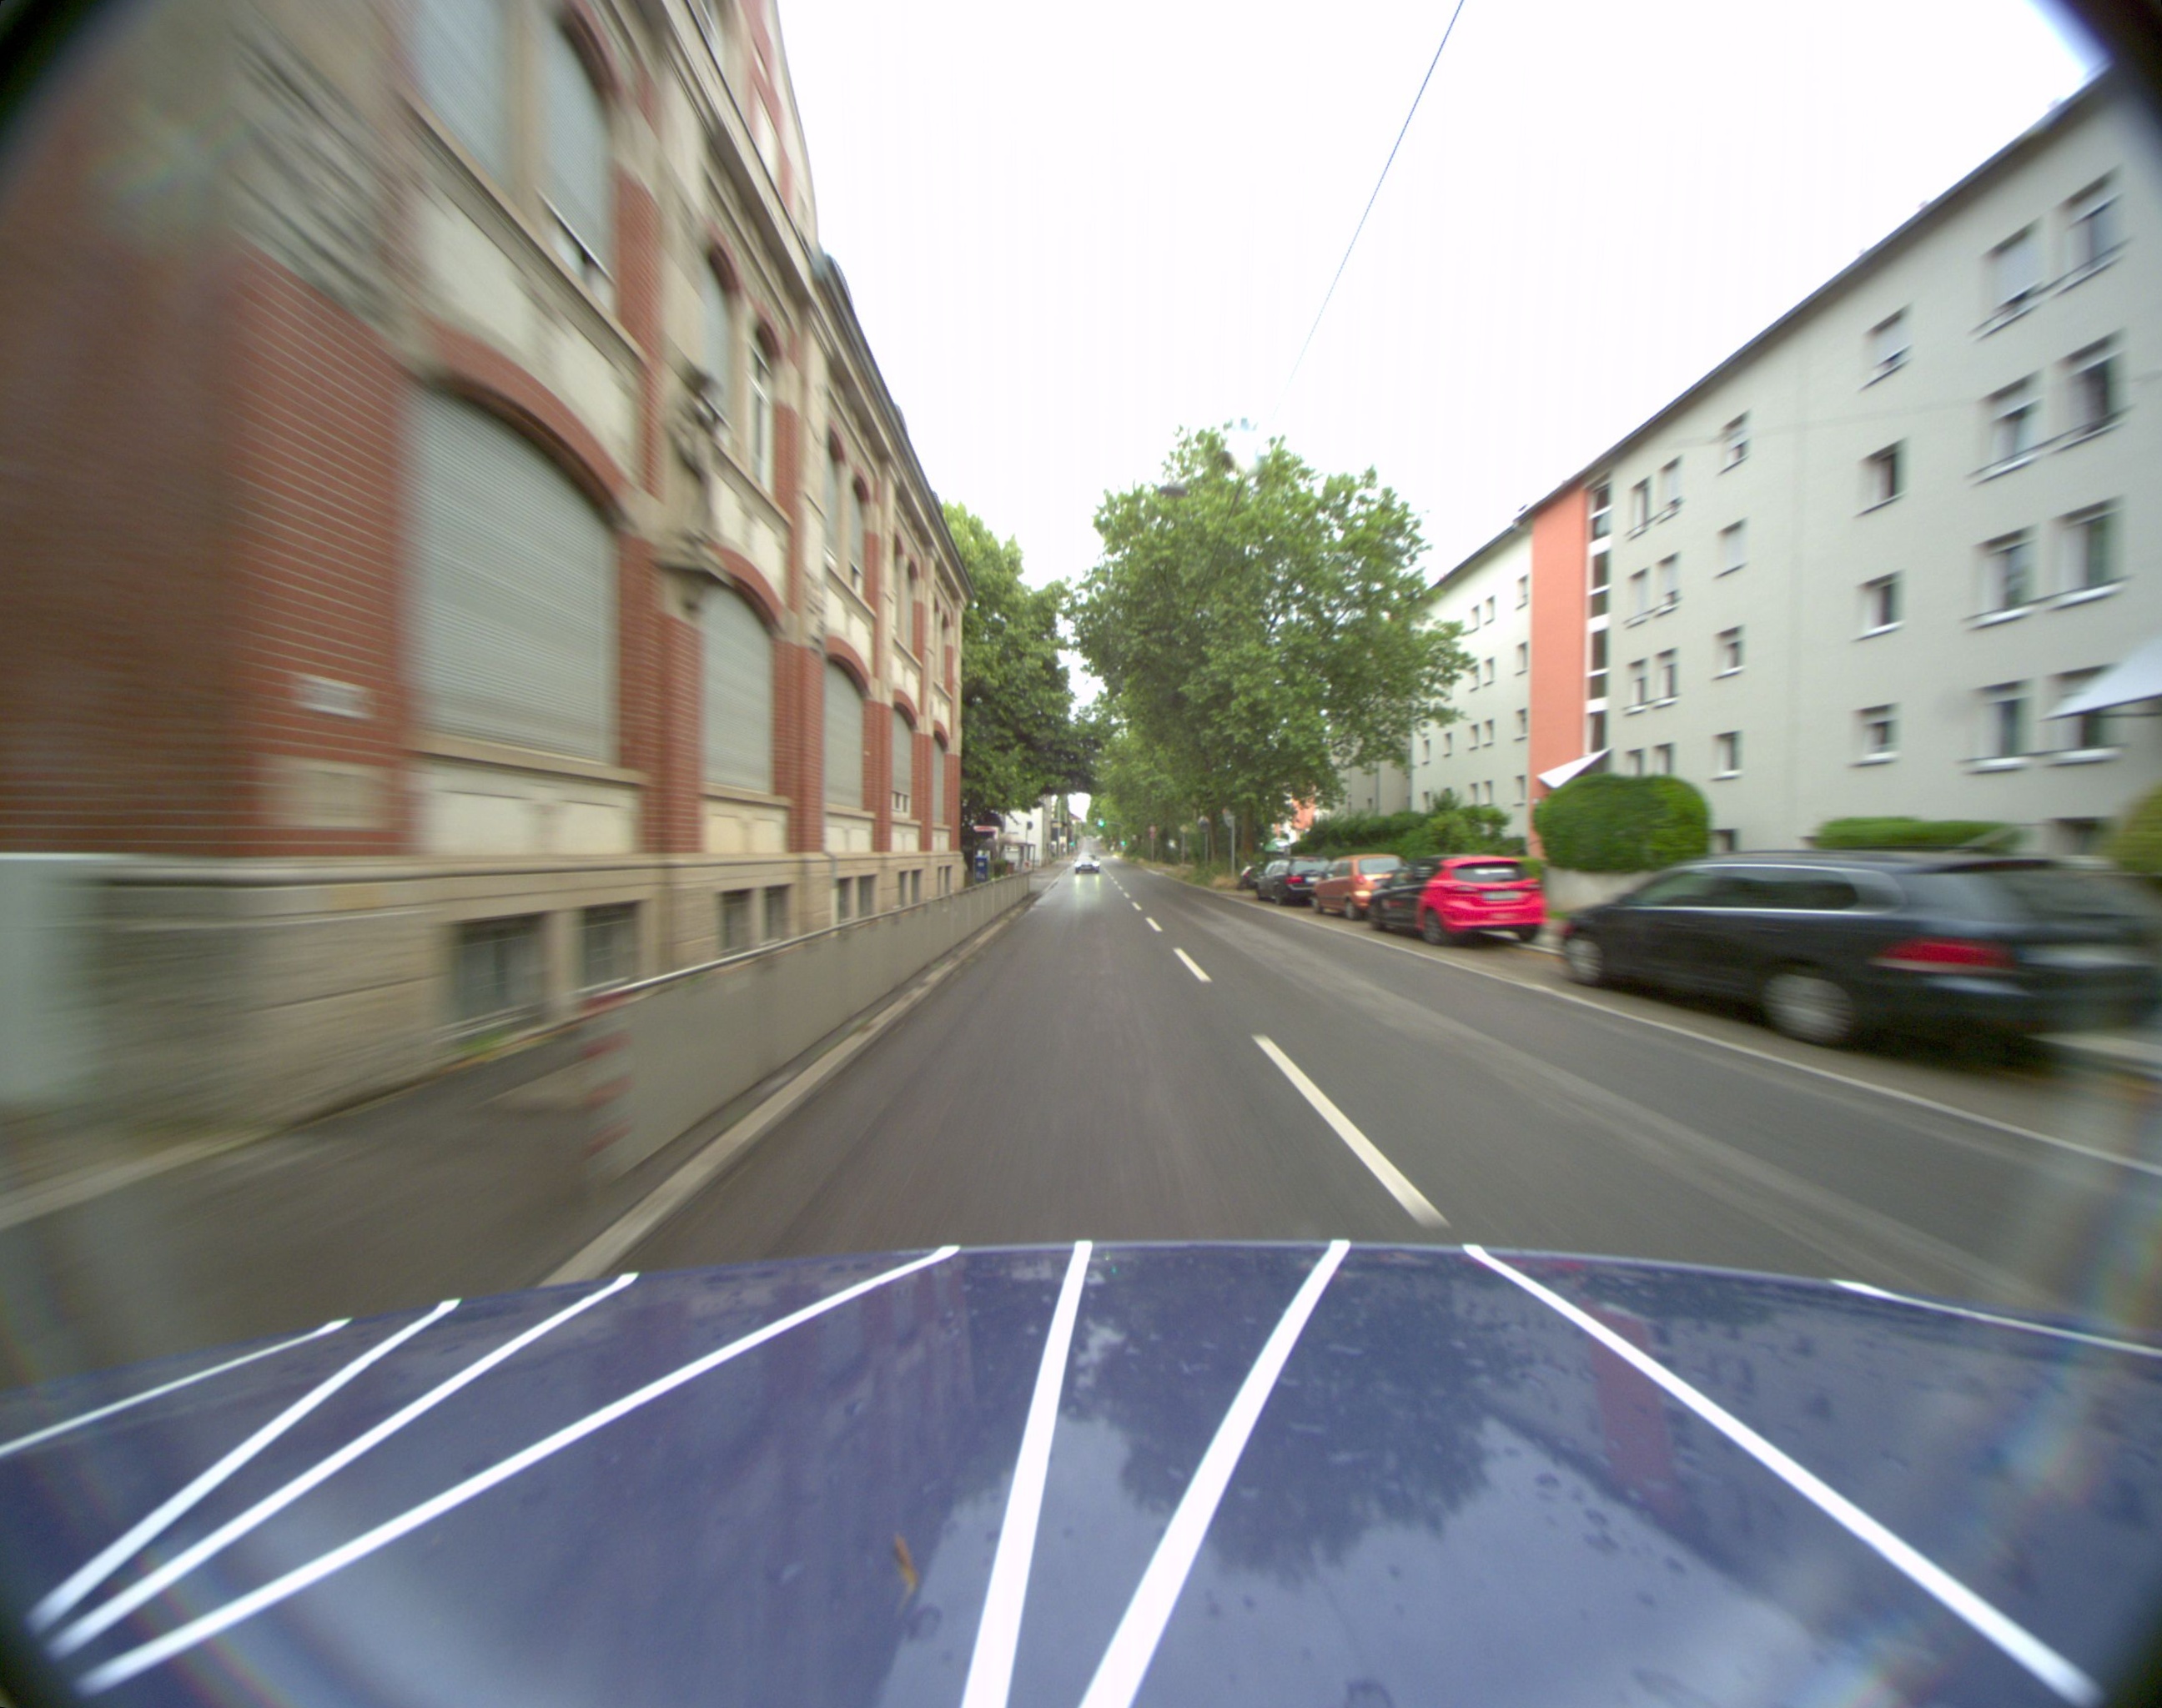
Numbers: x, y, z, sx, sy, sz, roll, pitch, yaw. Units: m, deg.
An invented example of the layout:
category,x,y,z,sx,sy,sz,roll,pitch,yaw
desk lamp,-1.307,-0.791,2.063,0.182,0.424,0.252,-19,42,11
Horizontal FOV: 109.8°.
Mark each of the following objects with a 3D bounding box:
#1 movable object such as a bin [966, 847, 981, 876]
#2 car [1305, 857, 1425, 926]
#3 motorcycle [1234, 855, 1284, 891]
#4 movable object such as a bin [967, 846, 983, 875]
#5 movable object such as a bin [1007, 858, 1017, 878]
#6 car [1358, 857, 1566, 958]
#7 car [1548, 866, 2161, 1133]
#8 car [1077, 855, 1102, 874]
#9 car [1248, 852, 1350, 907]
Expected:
category,x,y,z,sx,sy,sz,roll,pitch,yaw
movable object such as a bin,-5.515,0.375,38.990,0.739,1.499,0.625,0,1,-2
car,6.718,0.822,18.328,1.559,1.459,3.396,-1,0,-1
motorcycle,6.761,0.703,28.921,1.717,1.332,0.722,1,1,1
movable object such as a bin,-5.518,0.346,39.652,0.739,1.499,0.625,1,1,-2
movable object such as a bin,-3.810,0.756,41.869,0.506,1.109,0.618,0,1,1
car,6.423,0.810,13.320,1.721,1.459,3.755,-1,0,-1
car,6.251,0.896,6.621,1.721,1.459,4.233,-1,0,-1
car,0.620,0.757,57.555,1.692,1.334,3.999,0,1,-2
car,6.673,0.719,23.851,1.721,1.500,4.803,-1,0,-1
